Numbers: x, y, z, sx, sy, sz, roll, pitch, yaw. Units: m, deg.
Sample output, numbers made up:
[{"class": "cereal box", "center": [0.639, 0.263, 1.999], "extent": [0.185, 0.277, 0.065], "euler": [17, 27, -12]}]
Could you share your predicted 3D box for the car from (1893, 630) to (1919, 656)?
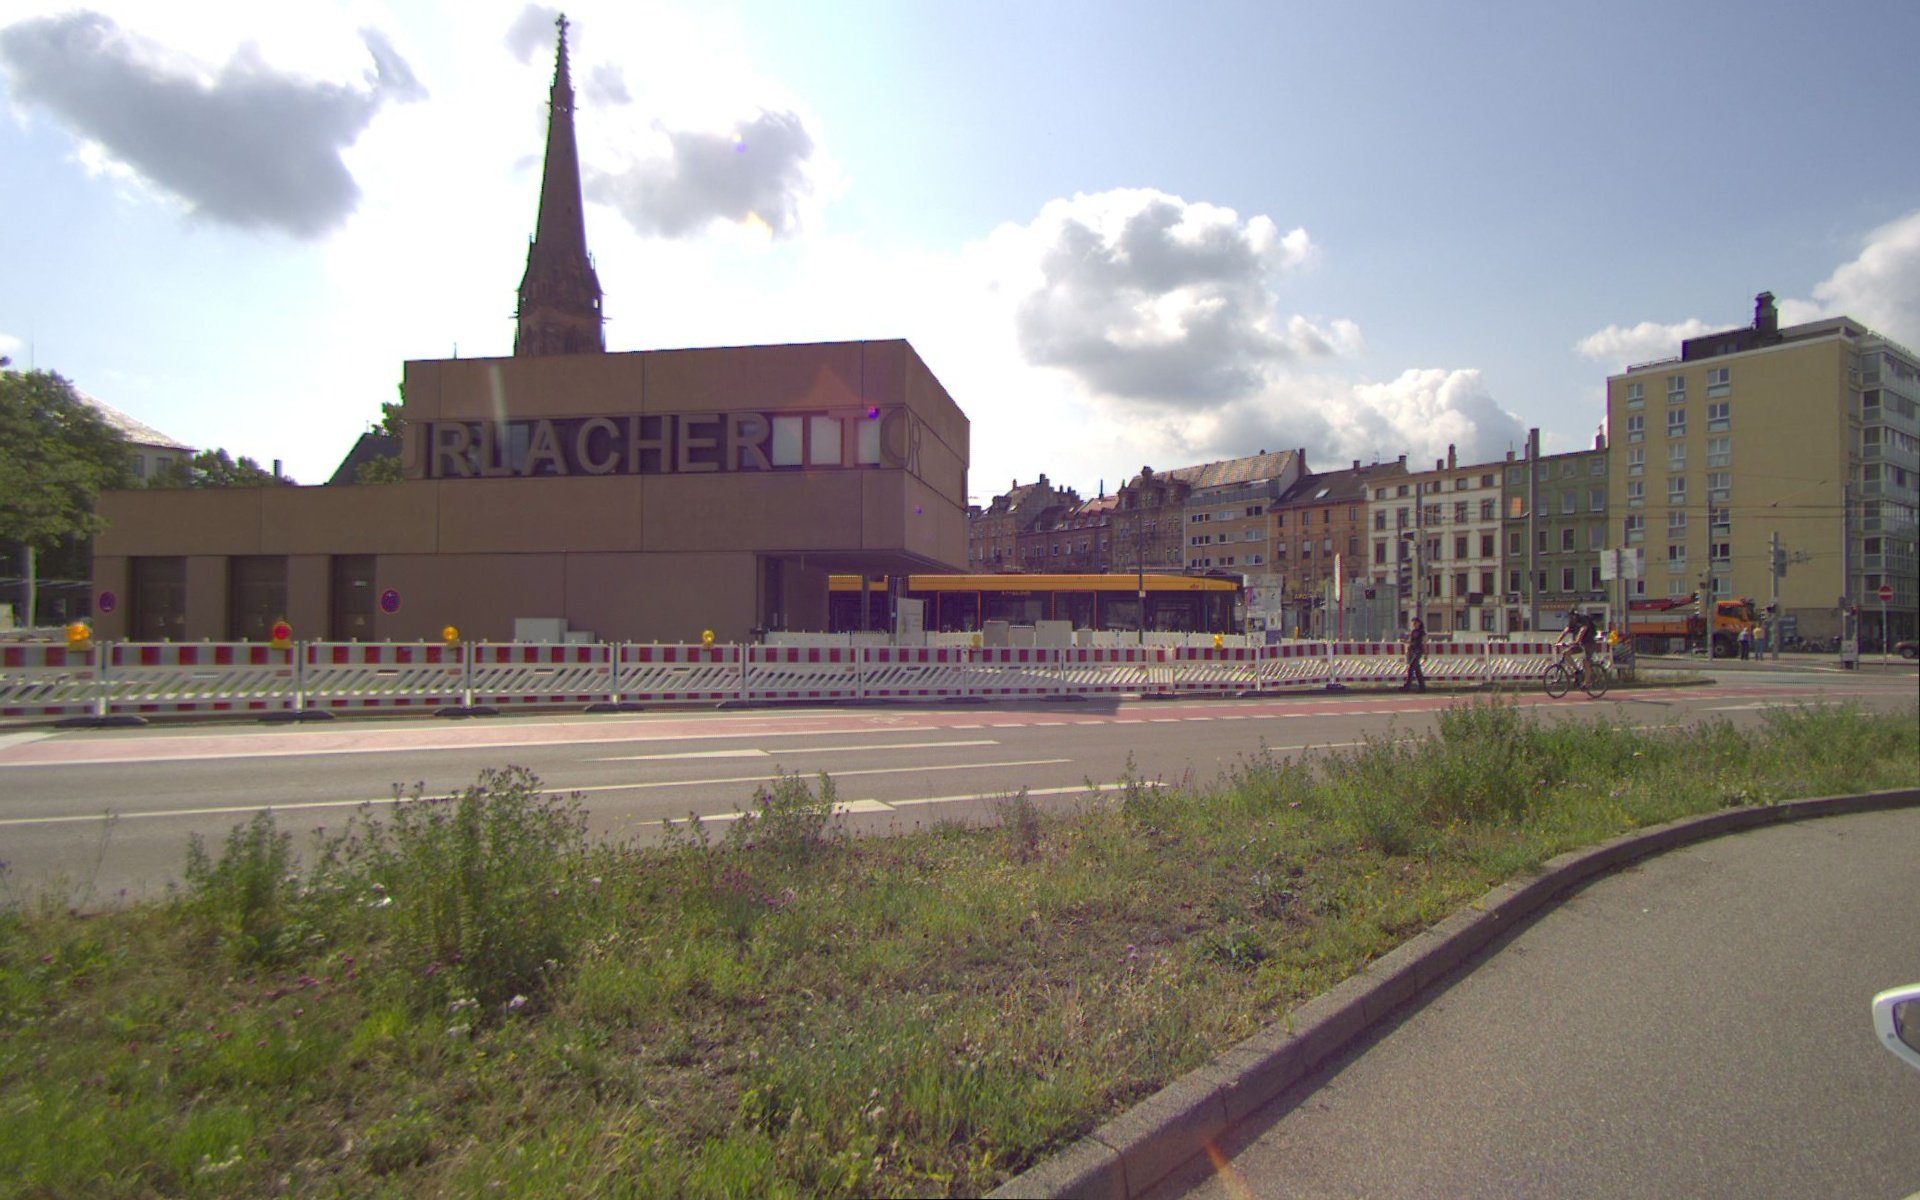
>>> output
[{"class": "car", "center": [56.913, 2.510, 58.129], "extent": [1.795, 1.528, 4.042], "euler": [1, -2, -34]}]

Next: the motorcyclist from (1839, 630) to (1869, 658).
[{"class": "motorcyclist", "center": [57.227, 2.804, 64.293], "extent": [1.221, 1.805, 0.888], "euler": [1, -1, -15]}]

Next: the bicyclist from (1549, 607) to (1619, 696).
[{"class": "bicyclist", "center": [13.375, 1.095, 21.527], "extent": [1.144, 1.847, 0.807], "euler": [1, -1, -27]}]

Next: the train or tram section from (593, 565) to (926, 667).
[{"class": "train or tram section", "center": [-7.513, 0.567, 37.925], "extent": [12.161, 3.611, 2.632], "euler": [0, -1, 10]}]

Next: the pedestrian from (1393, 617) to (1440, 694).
[{"class": "pedestrian", "center": [10.280, 1.237, 22.646], "extent": [0.632, 1.703, 0.734], "euler": [1, -1, -23]}]

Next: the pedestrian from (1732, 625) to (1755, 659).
[{"class": "pedestrian", "center": [44.444, 2.374, 56.970], "extent": [0.806, 1.884, 0.698], "euler": [1, -1, -19]}]

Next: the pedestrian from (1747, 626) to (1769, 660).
[{"class": "pedestrian", "center": [44.694, 2.392, 56.226], "extent": [0.769, 1.893, 0.650], "euler": [1, -1, -19]}]

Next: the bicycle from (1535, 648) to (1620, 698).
[{"class": "bicycle", "center": [13.186, 1.546, 21.431], "extent": [1.993, 1.015, 0.614], "euler": [1, -1, -28]}]

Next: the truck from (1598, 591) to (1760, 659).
[{"class": "truck", "center": [43.954, 1.531, 61.742], "extent": [2.177, 3.907, 7.867], "euler": [1, -2, -33]}]

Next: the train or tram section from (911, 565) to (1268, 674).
[{"class": "train or tram section", "center": [4.489, 0.653, 35.801], "extent": [12.161, 3.619, 2.670], "euler": [0, -1, 10]}]
